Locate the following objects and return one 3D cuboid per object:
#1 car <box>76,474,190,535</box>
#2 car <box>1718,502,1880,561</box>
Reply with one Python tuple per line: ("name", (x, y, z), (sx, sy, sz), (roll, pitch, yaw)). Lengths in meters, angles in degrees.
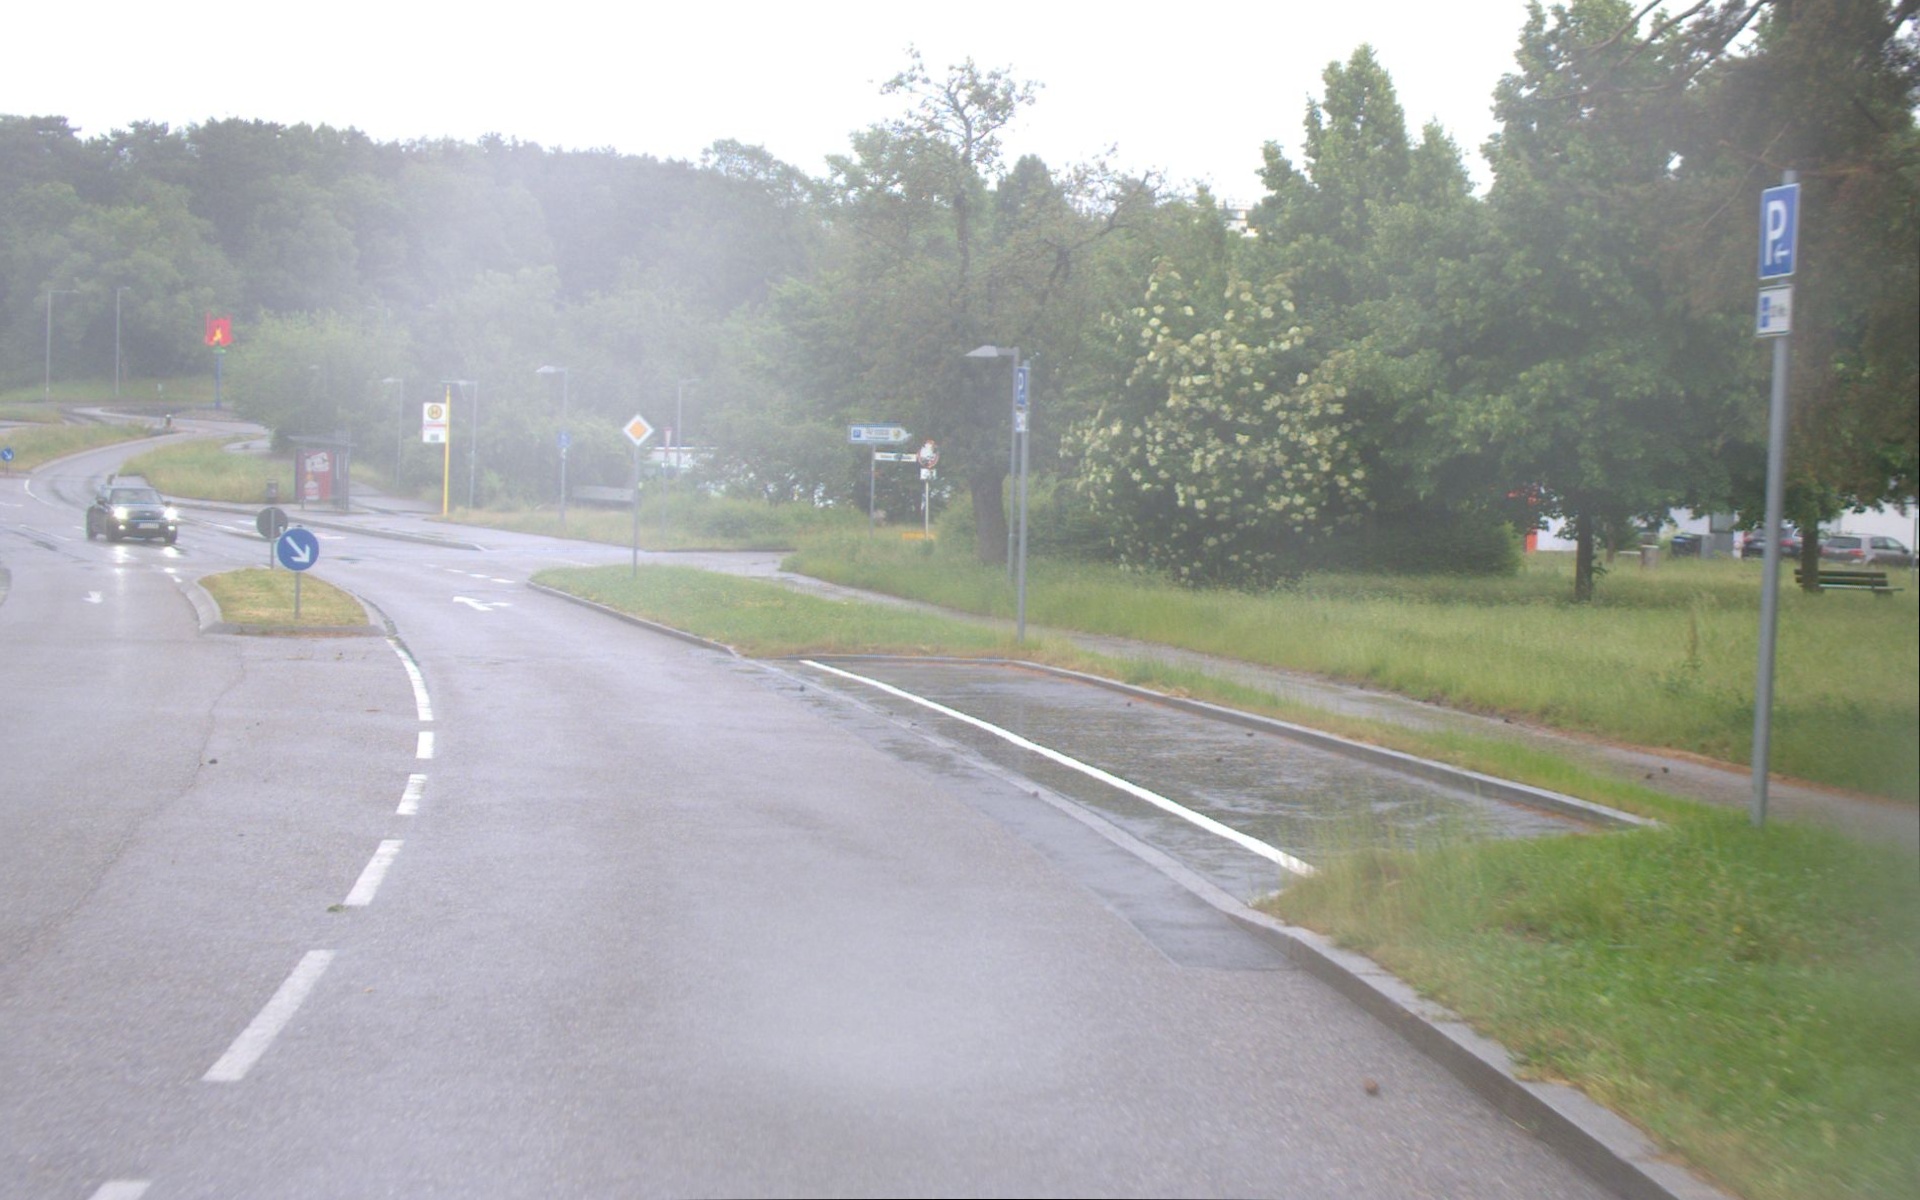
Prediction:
("car", (-21.231, -2.450, 88.186), (1.455, 1.351, 3.533), (2, 2, -38))
("car", (26.167, -2.129, 107.320), (4.555, 1.744, 1.908), (0, 1, 43))
